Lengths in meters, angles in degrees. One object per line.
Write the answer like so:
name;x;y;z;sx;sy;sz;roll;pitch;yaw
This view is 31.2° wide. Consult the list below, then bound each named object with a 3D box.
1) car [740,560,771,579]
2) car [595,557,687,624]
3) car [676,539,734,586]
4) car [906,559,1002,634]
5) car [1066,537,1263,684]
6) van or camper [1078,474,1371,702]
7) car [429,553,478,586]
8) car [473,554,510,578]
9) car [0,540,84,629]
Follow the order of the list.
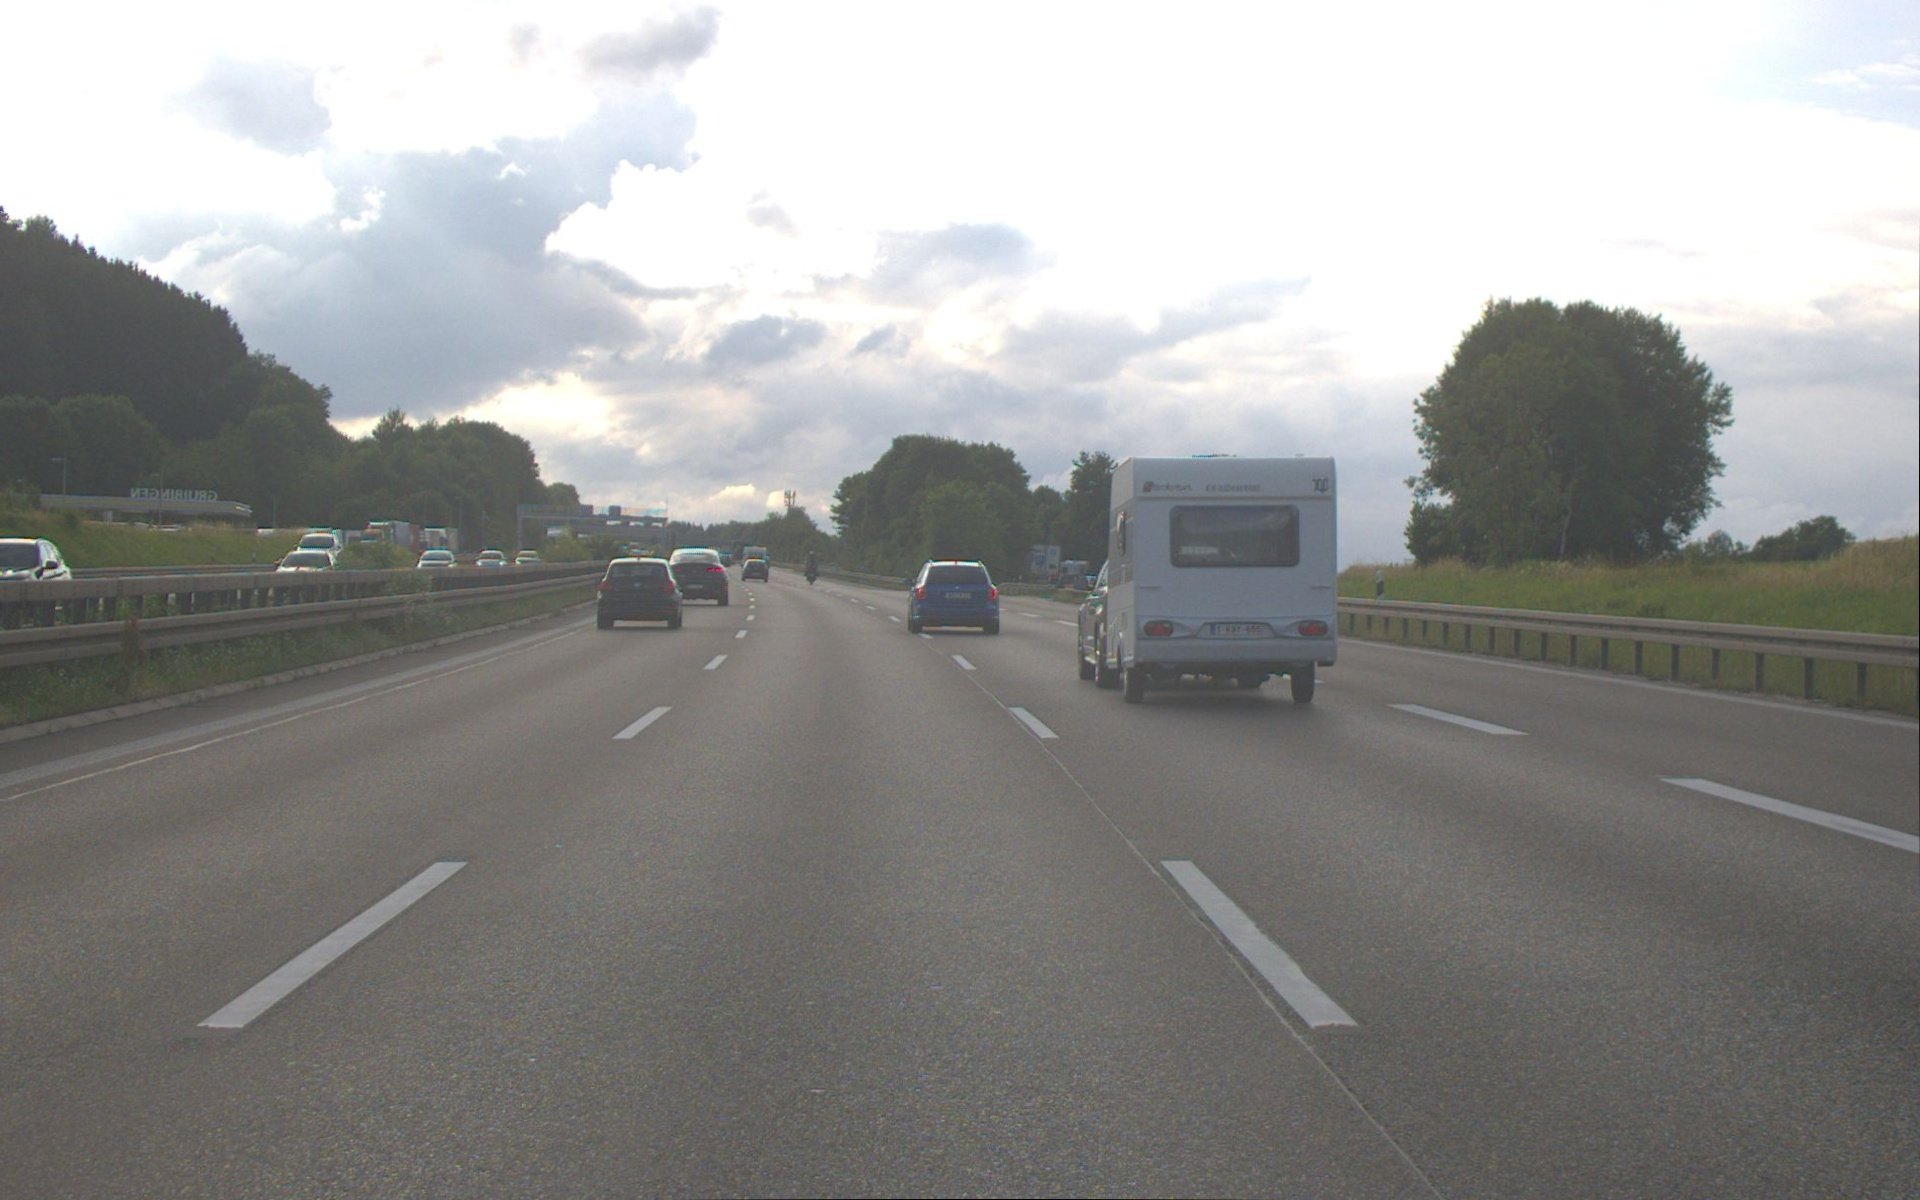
car;-13.770;-2.058;231.304;1.750;1.218;4.001;0;1;-8
car;-6.583;-0.207;71.252;1.538;1.343;3.677;0;1;0
car;-7.719;-1.148;104.343;1.565;1.376;4.000;0;1;-1
car;-0.149;-0.079;68.539;1.766;1.428;4.000;-1;0;-2
car;2.406;0.079;41.538;1.786;1.647;4.482;1;1;-4
van or camper;2.745;-0.097;37.165;2.547;2.232;5.329;1;-1;-2
car;-23.243;-1.402;157.922;1.951;1.470;3.873;0;1;-4
car;-28.306;-2.046;207.858;1.951;1.443;3.873;0;1;-4
car;-17.934;-0.280;64.867;1.807;1.608;4.341;1;0;-2
